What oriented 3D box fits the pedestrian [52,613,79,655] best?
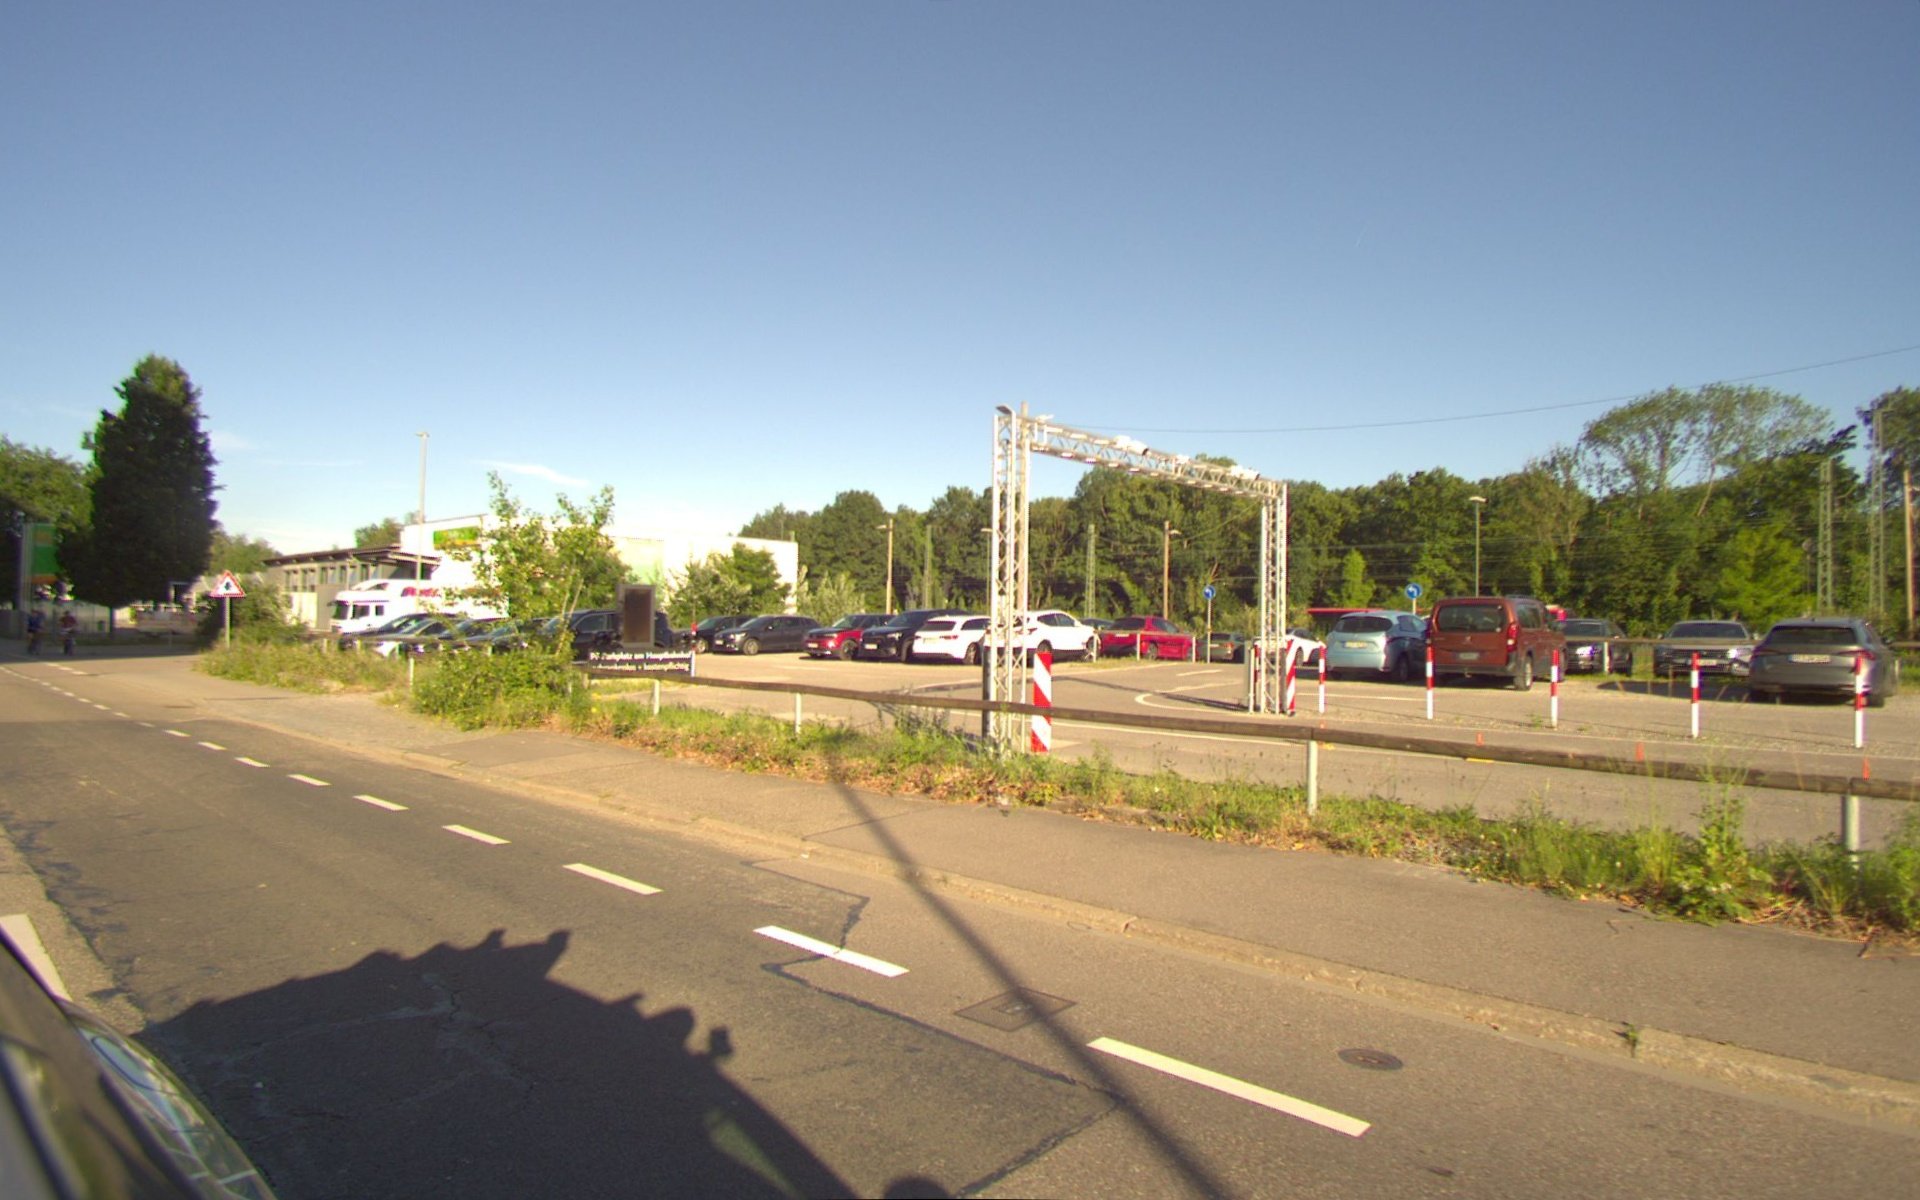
[{"bbox_3d":[-37.336,1.426,42.233,1.057,1.734,0.713,-1,-2,42],"label":"pedestrian"}]

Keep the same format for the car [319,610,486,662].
[{"bbox_3d":[-18.231,1.149,33.231,2.049,1.593,4.379,-1,-2,43],"label":"car"}]

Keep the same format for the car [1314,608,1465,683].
[{"bbox_3d":[9.954,0.981,23.288,1.857,1.557,4.320,-2,-2,42],"label":"car"}]

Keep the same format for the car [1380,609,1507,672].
[{"bbox_3d":[12.945,1.030,26.974,1.857,1.557,4.320,-2,-2,42],"label":"car"}]

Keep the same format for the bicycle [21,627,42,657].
[{"bbox_3d":[-38.182,1.707,41.590,2.200,1.157,0.441,-1,-1,42],"label":"bicycle"}]

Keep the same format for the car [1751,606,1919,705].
[{"bbox_3d":[15.347,0.881,17.568,1.992,1.492,4.524,-2,-2,45],"label":"car"}]

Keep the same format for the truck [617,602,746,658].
[{"bbox_3d":[-14.721,1.592,53.857,2.315,2.829,6.428,-1,-2,40],"label":"truck"}]

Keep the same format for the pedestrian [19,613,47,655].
[{"bbox_3d":[-38.025,1.387,41.495,1.057,1.734,0.713,-1,-2,42],"label":"pedestrian"}]

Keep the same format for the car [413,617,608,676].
[{"bbox_3d":[-12.072,1.213,27.392,2.049,1.473,4.379,-1,-2,43],"label":"car"}]

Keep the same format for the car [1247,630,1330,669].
[{"bbox_3d":[13.145,1.945,40.467,1.936,1.493,3.570,-1,-3,41],"label":"car"}]

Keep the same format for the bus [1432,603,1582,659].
[{"bbox_3d":[24.930,1.414,46.276,5.590,2.366,2.511,-1,-3,44],"label":"bus"}]

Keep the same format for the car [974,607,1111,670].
[{"bbox_3d":[2.451,1.094,29.171,1.964,1.674,4.119,-1,-2,39],"label":"car"}]

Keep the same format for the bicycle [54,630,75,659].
[{"bbox_3d":[-37.423,1.854,42.279,1.869,1.157,0.465,-1,-1,42],"label":"bicycle"}]

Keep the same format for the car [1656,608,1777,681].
[{"bbox_3d":[17.077,0.960,22.776,1.893,1.477,3.945,-2,-2,41],"label":"car"}]

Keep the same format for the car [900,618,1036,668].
[{"bbox_3d":[0.305,1.252,30.504,2.046,1.408,4.120,-1,-2,38],"label":"car"}]

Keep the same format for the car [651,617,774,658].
[{"bbox_3d":[-9.622,1.439,39.563,2.046,1.476,4.360,-1,-2,38],"label":"car"}]

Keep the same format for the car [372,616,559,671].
[{"bbox_3d":[-14.087,1.209,29.024,2.049,1.473,4.379,-1,-2,43],"label":"car"}]

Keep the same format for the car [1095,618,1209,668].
[{"bbox_3d":[6.343,1.374,33.111,1.964,1.541,4.119,-1,-2,39],"label":"car"}]

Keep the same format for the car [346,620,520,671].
[{"bbox_3d":[-16.282,1.365,31.427,2.049,1.473,4.379,-1,-2,43],"label":"car"}]

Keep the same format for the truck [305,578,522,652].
[{"bbox_3d":[-29.209,0.773,54.660,2.774,3.642,9.993,0,-1,41],"label":"truck"}]

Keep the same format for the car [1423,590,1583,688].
[{"bbox_3d":[11.419,0.770,21.140,1.857,1.819,4.526,-2,-2,42],"label":"car"}]

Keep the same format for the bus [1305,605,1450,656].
[{"bbox_3d":[20.683,1.497,50.330,6.205,2.366,2.511,-1,-3,44],"label":"bus"}]

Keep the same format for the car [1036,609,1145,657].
[{"bbox_3d":[4.523,1.107,34.620,1.911,1.561,3.947,-1,-2,39],"label":"car"}]

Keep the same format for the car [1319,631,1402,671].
[{"bbox_3d":[15.582,1.956,39.312,1.936,1.493,3.570,-1,-3,41],"label":"car"}]

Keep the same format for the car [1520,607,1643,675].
[{"bbox_3d":[15.104,0.957,24.525,1.935,1.519,3.946,-2,-2,41],"label":"car"}]

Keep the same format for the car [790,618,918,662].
[{"bbox_3d":[-3.509,1.315,34.112,2.046,1.408,4.120,-1,-2,38],"label":"car"}]

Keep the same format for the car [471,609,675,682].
[{"bbox_3d":[-9.696,1.115,25.592,2.049,1.683,4.379,-1,-2,43],"label":"car"}]

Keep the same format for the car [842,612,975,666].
[{"bbox_3d":[-1.562,1.201,32.084,2.046,1.590,4.120,-1,-2,38],"label":"car"}]

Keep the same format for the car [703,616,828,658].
[{"bbox_3d":[-7.268,1.365,38.102,2.046,1.476,4.360,-1,-2,38],"label":"car"}]

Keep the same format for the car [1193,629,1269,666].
[{"bbox_3d":[11.483,1.985,42.748,1.725,1.493,3.570,-1,-3,41],"label":"car"}]

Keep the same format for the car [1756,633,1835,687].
[{"bbox_3d":[25.129,1.761,30.412,1.725,1.493,3.570,-1,-3,41],"label":"car"}]
